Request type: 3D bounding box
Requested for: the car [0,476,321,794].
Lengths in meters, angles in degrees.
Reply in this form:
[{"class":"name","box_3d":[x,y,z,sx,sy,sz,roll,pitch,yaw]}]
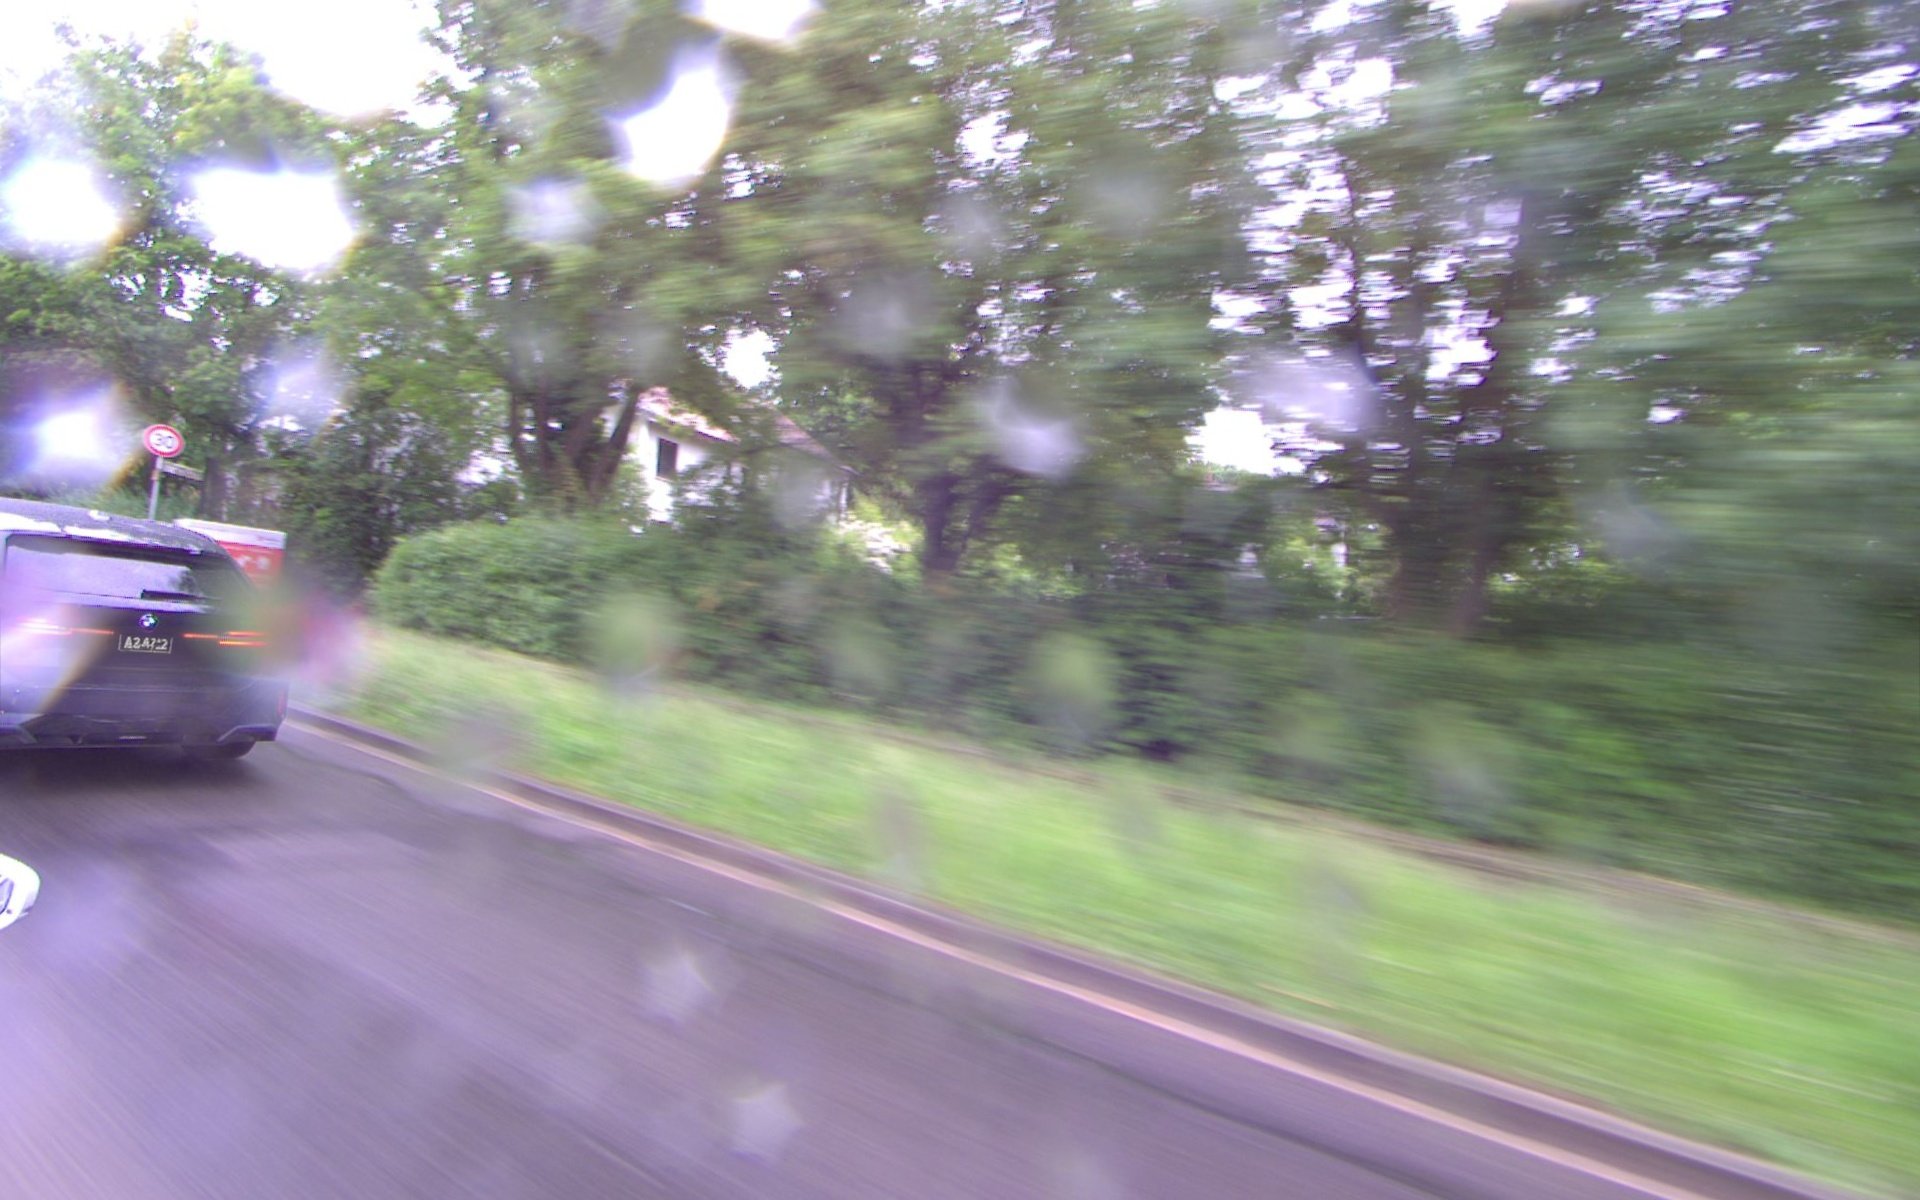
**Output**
[{"class":"car","box_3d":[-5.925,0.054,6.335,3.613,1.554,1.767,7,-1,34]}]
